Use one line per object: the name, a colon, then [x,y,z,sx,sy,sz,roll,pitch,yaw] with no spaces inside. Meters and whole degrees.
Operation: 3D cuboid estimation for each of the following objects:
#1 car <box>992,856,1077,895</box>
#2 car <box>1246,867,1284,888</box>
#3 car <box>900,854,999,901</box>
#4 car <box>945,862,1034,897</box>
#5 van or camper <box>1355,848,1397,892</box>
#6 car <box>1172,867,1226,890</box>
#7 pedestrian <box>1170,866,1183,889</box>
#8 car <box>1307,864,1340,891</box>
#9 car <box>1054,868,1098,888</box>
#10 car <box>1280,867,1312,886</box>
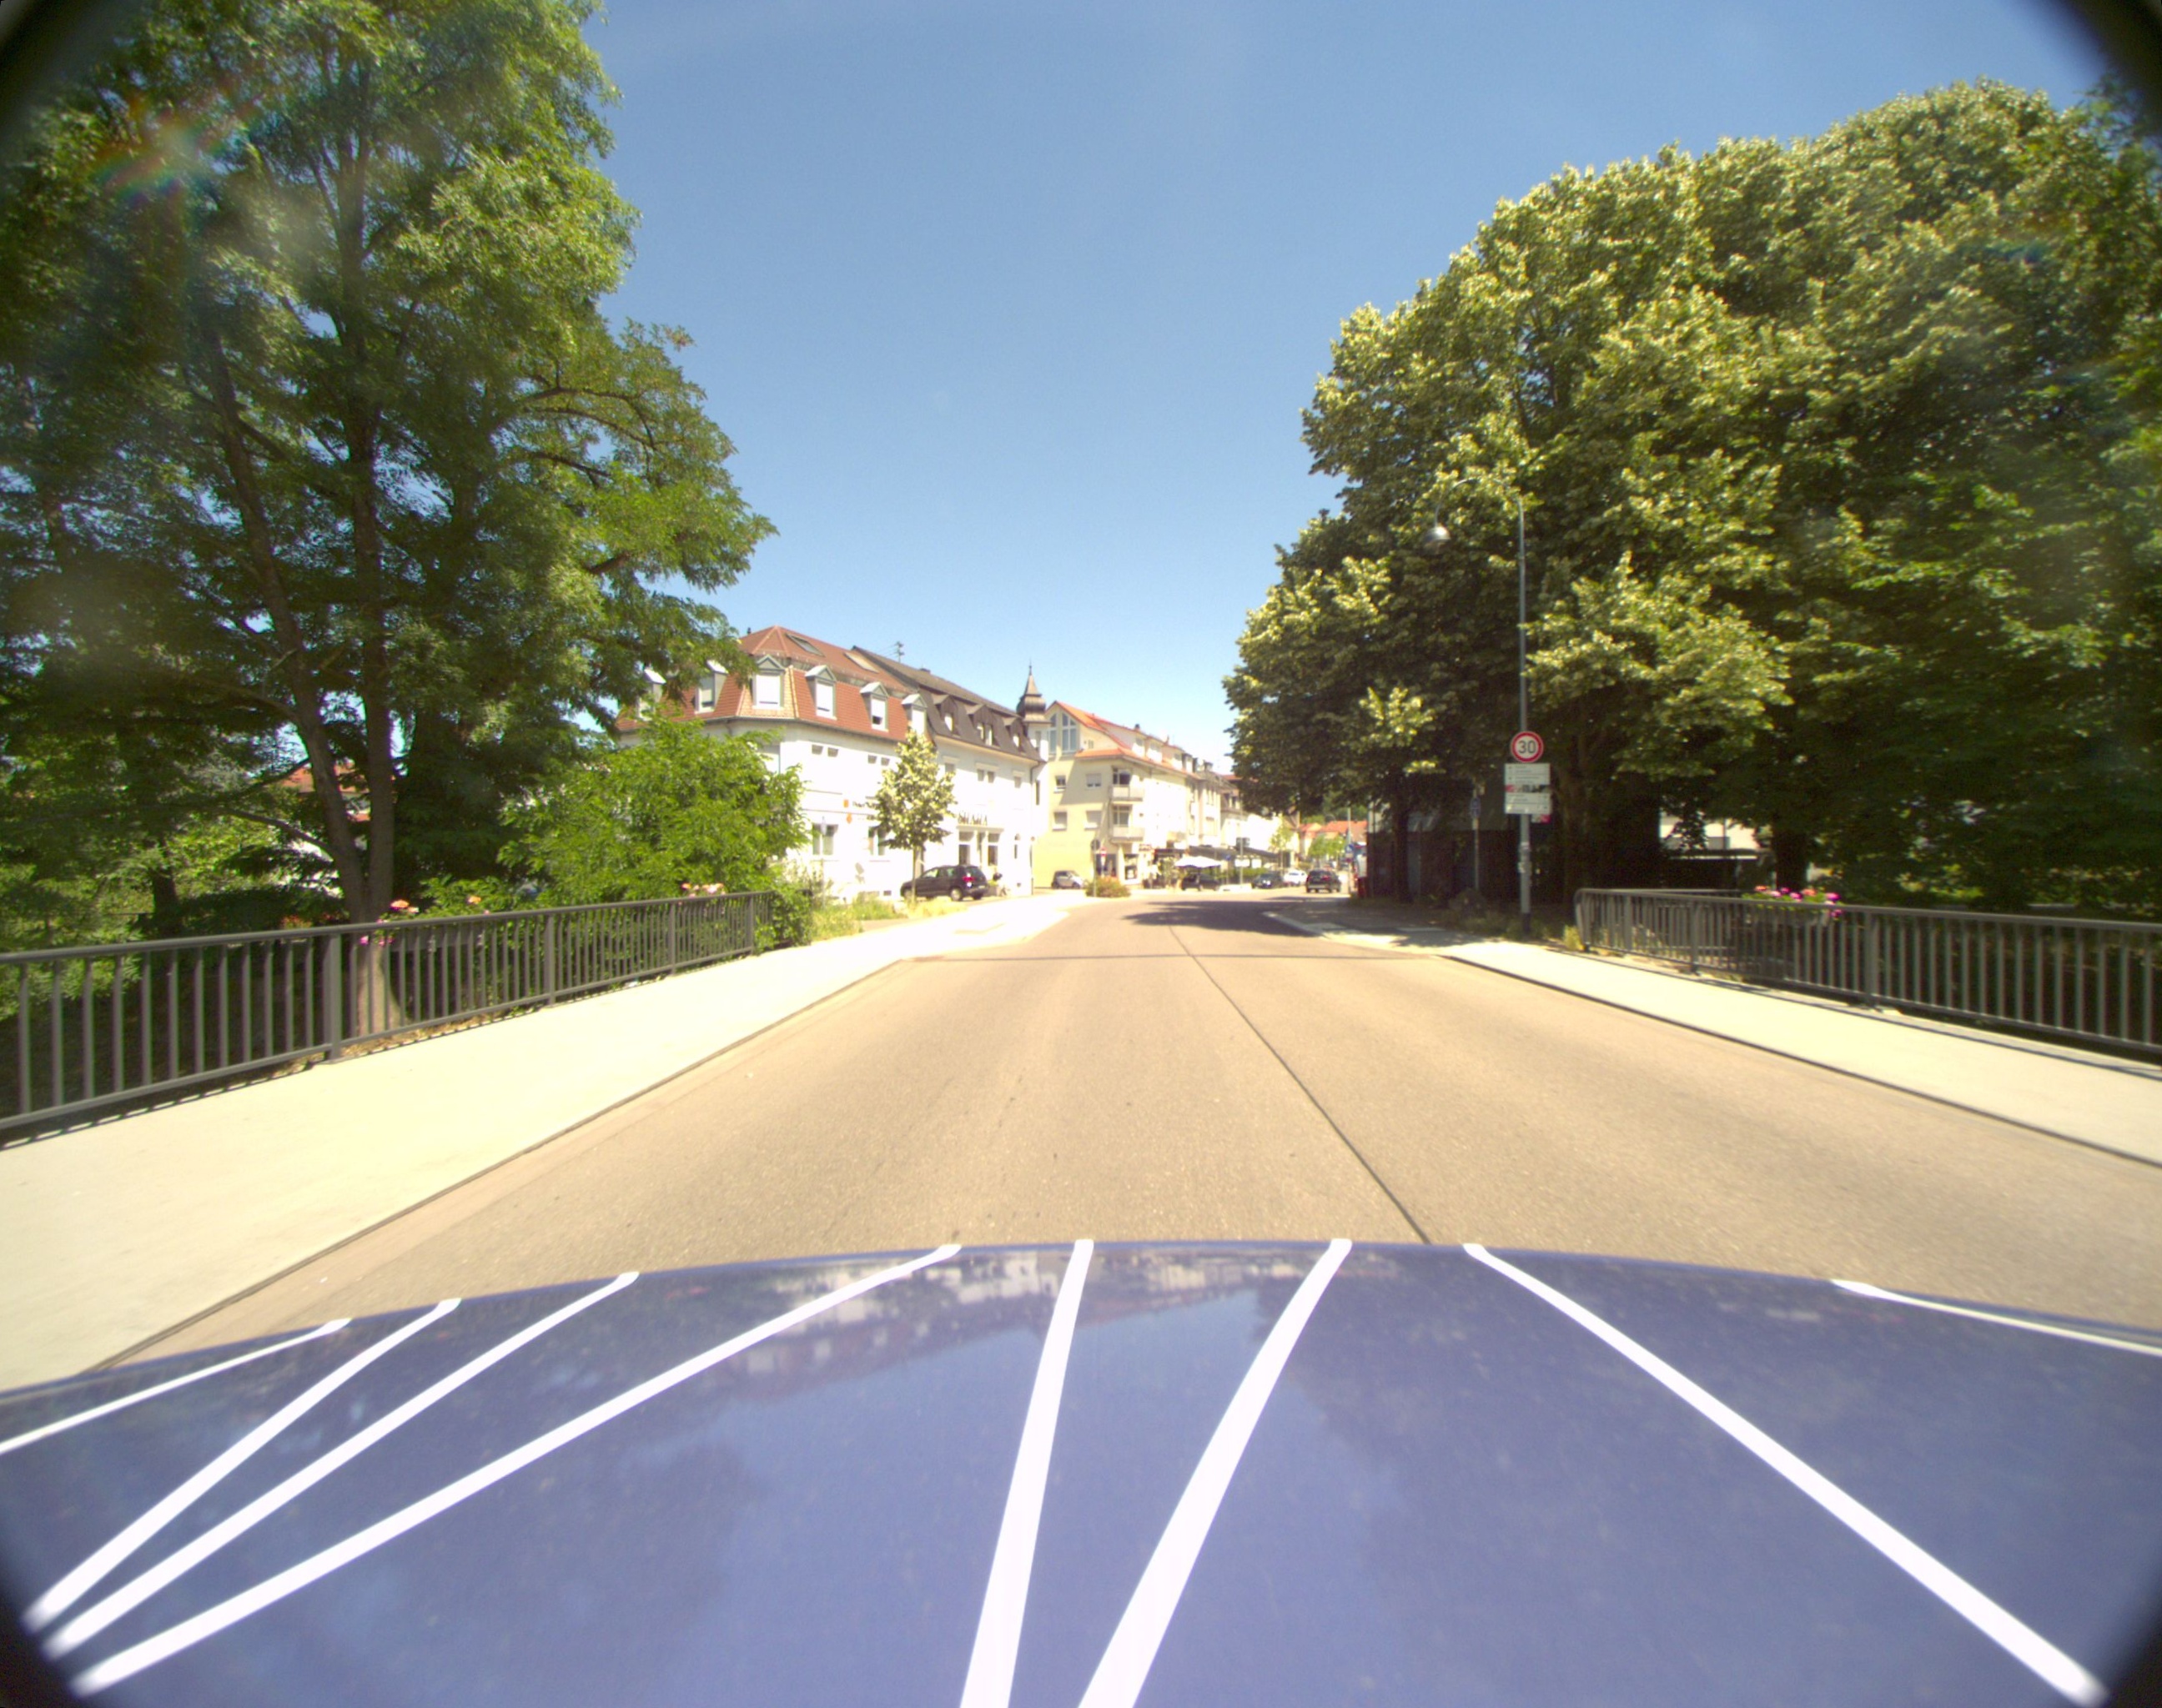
car: [-2.475,1.151,40.279,3.990,2.001,2.004,-1,-2,27]
car: [16.296,2.087,67.125,1.994,1.705,4.009,1,-2,34]
car: [-6.071,1.083,35.037,3.990,2.002,2.003,-2,0,27]
car: [-4.614,1.292,38.234,3.990,1.660,2.004,-2,-2,27]
van or camper: [20.795,1.076,53.428,1.995,2.788,5.047,-3,-1,28]
car: [9.125,1.880,58.627,4.009,1.705,1.994,2,-2,-41]
pedestrian: [7.294,1.775,58.261,0.814,1.745,0.636,2,2,24]
car: [17.416,1.704,54.565,1.995,1.830,4.007,0,-2,21]
car: [-0.415,1.893,60.378,3.038,1.444,1.570,-2,0,23]
car: [20.877,2.179,73.743,1.994,1.674,4.008,1,0,31]
